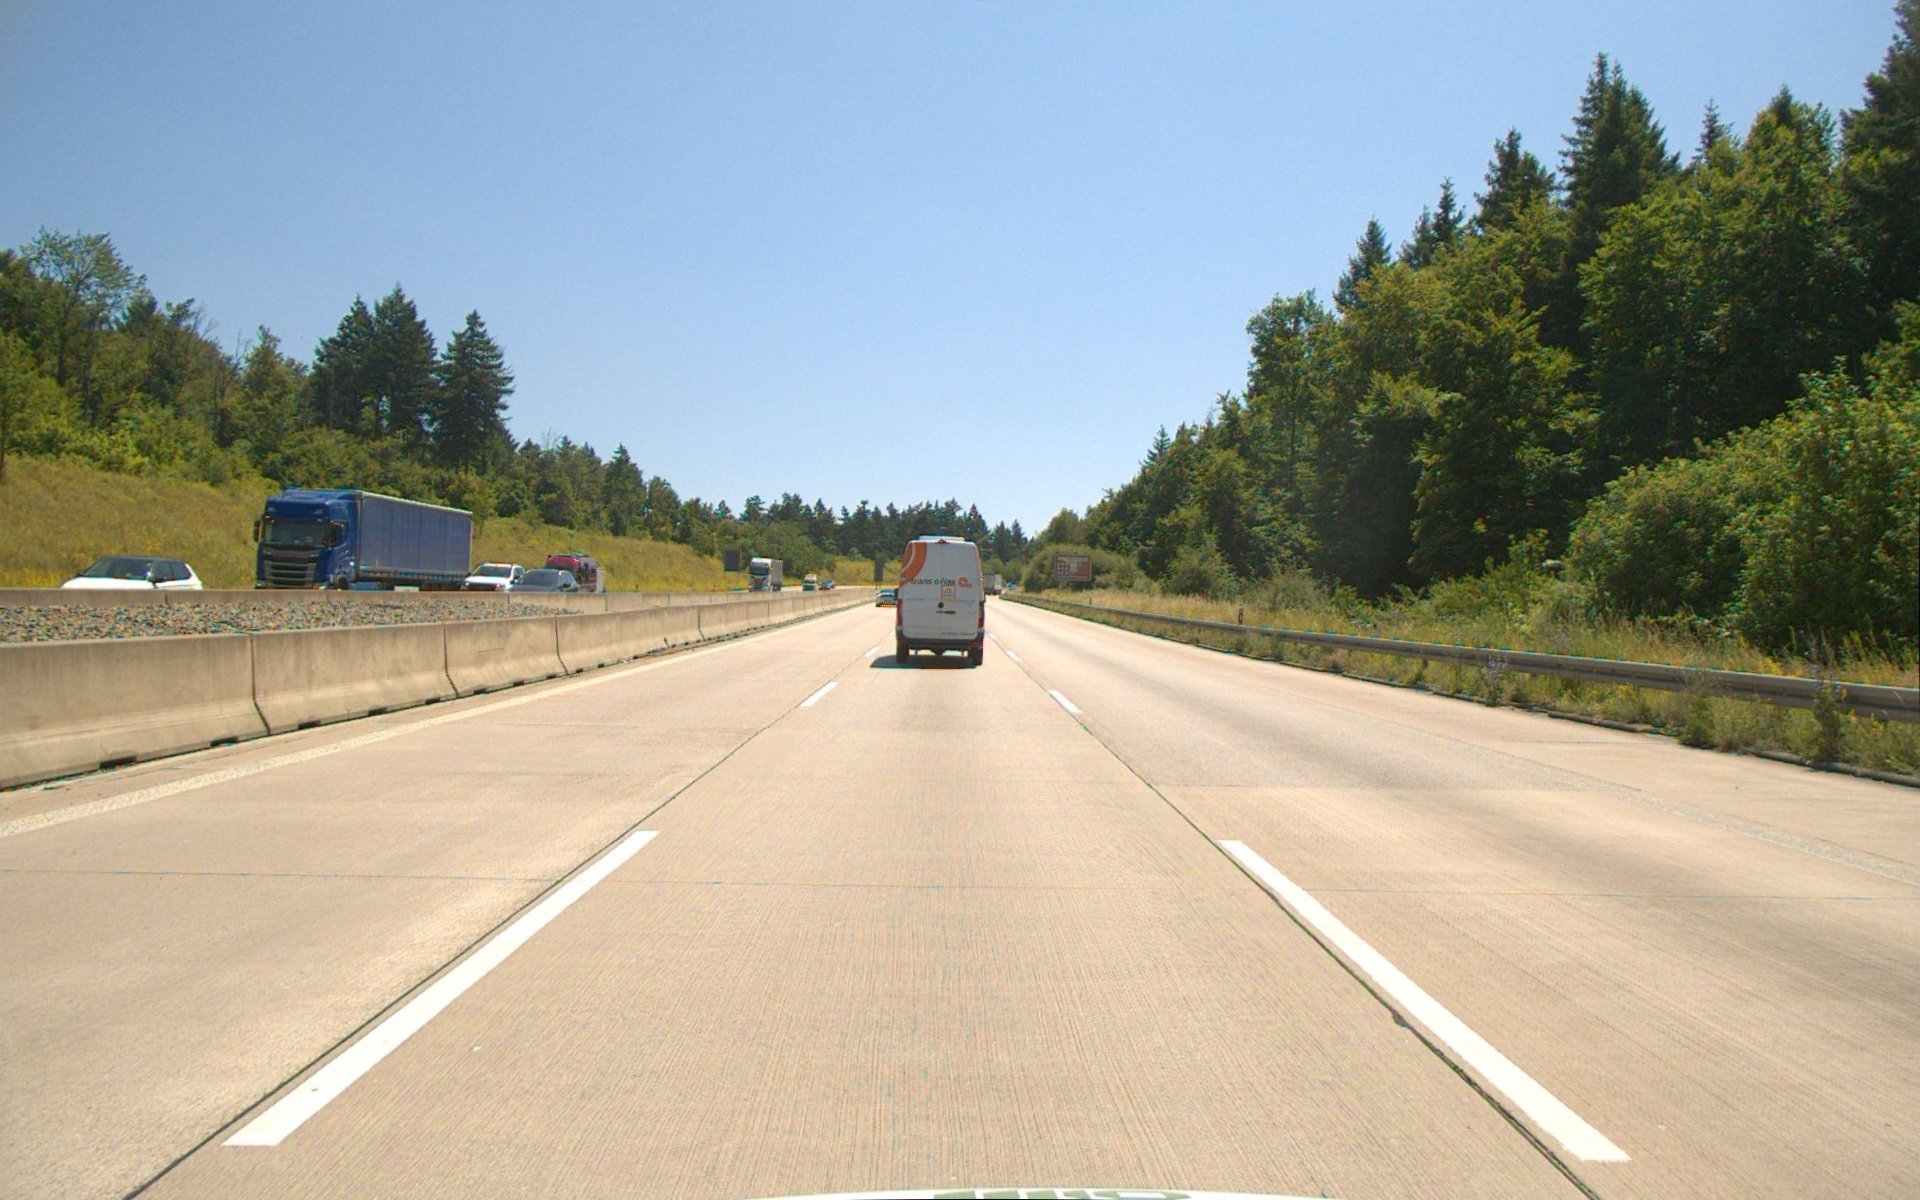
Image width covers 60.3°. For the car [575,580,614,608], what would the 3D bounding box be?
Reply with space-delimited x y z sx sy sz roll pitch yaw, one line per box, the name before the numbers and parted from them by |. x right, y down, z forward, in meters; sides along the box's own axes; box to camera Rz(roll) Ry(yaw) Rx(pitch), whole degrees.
car | -21.680 -0.335 98.202 1.581 1.628 3.576 0 0 -1

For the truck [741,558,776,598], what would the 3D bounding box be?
truck | -24.184 -2.636 199.101 3.190 4.583 7.984 2 0 0

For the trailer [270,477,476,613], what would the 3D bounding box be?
trailer | -22.171 -1.876 63.696 3.191 4.583 13.735 2 0 -1

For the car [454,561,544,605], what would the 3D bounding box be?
car | -17.851 -0.642 64.363 1.953 1.610 5.518 1 0 0

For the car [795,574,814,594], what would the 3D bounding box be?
car | -20.795 -2.137 220.965 1.953 2.529 5.178 2 1 0

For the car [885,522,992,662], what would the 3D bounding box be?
car | -0.494 -0.203 37.732 2.181 2.893 5.453 2 1 -1

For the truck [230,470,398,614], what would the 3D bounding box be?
truck | -22.020 -1.874 56.851 3.191 4.583 6.573 2 0 -1

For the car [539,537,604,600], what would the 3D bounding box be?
car | -21.559 -1.703 92.017 1.953 3.298 7.059 1 0 -1

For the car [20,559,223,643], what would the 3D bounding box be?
car | -17.595 0.010 34.977 1.953 1.610 4.529 1 0 0

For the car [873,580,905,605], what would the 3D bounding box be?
car | -5.264 -0.547 123.448 1.952 1.713 4.002 2 0 3

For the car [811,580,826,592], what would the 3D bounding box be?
car | -21.153 -2.101 247.449 1.953 1.610 4.042 1 0 0

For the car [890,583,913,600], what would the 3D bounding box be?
car | -5.963 -0.846 169.650 1.952 1.713 4.002 2 0 3
